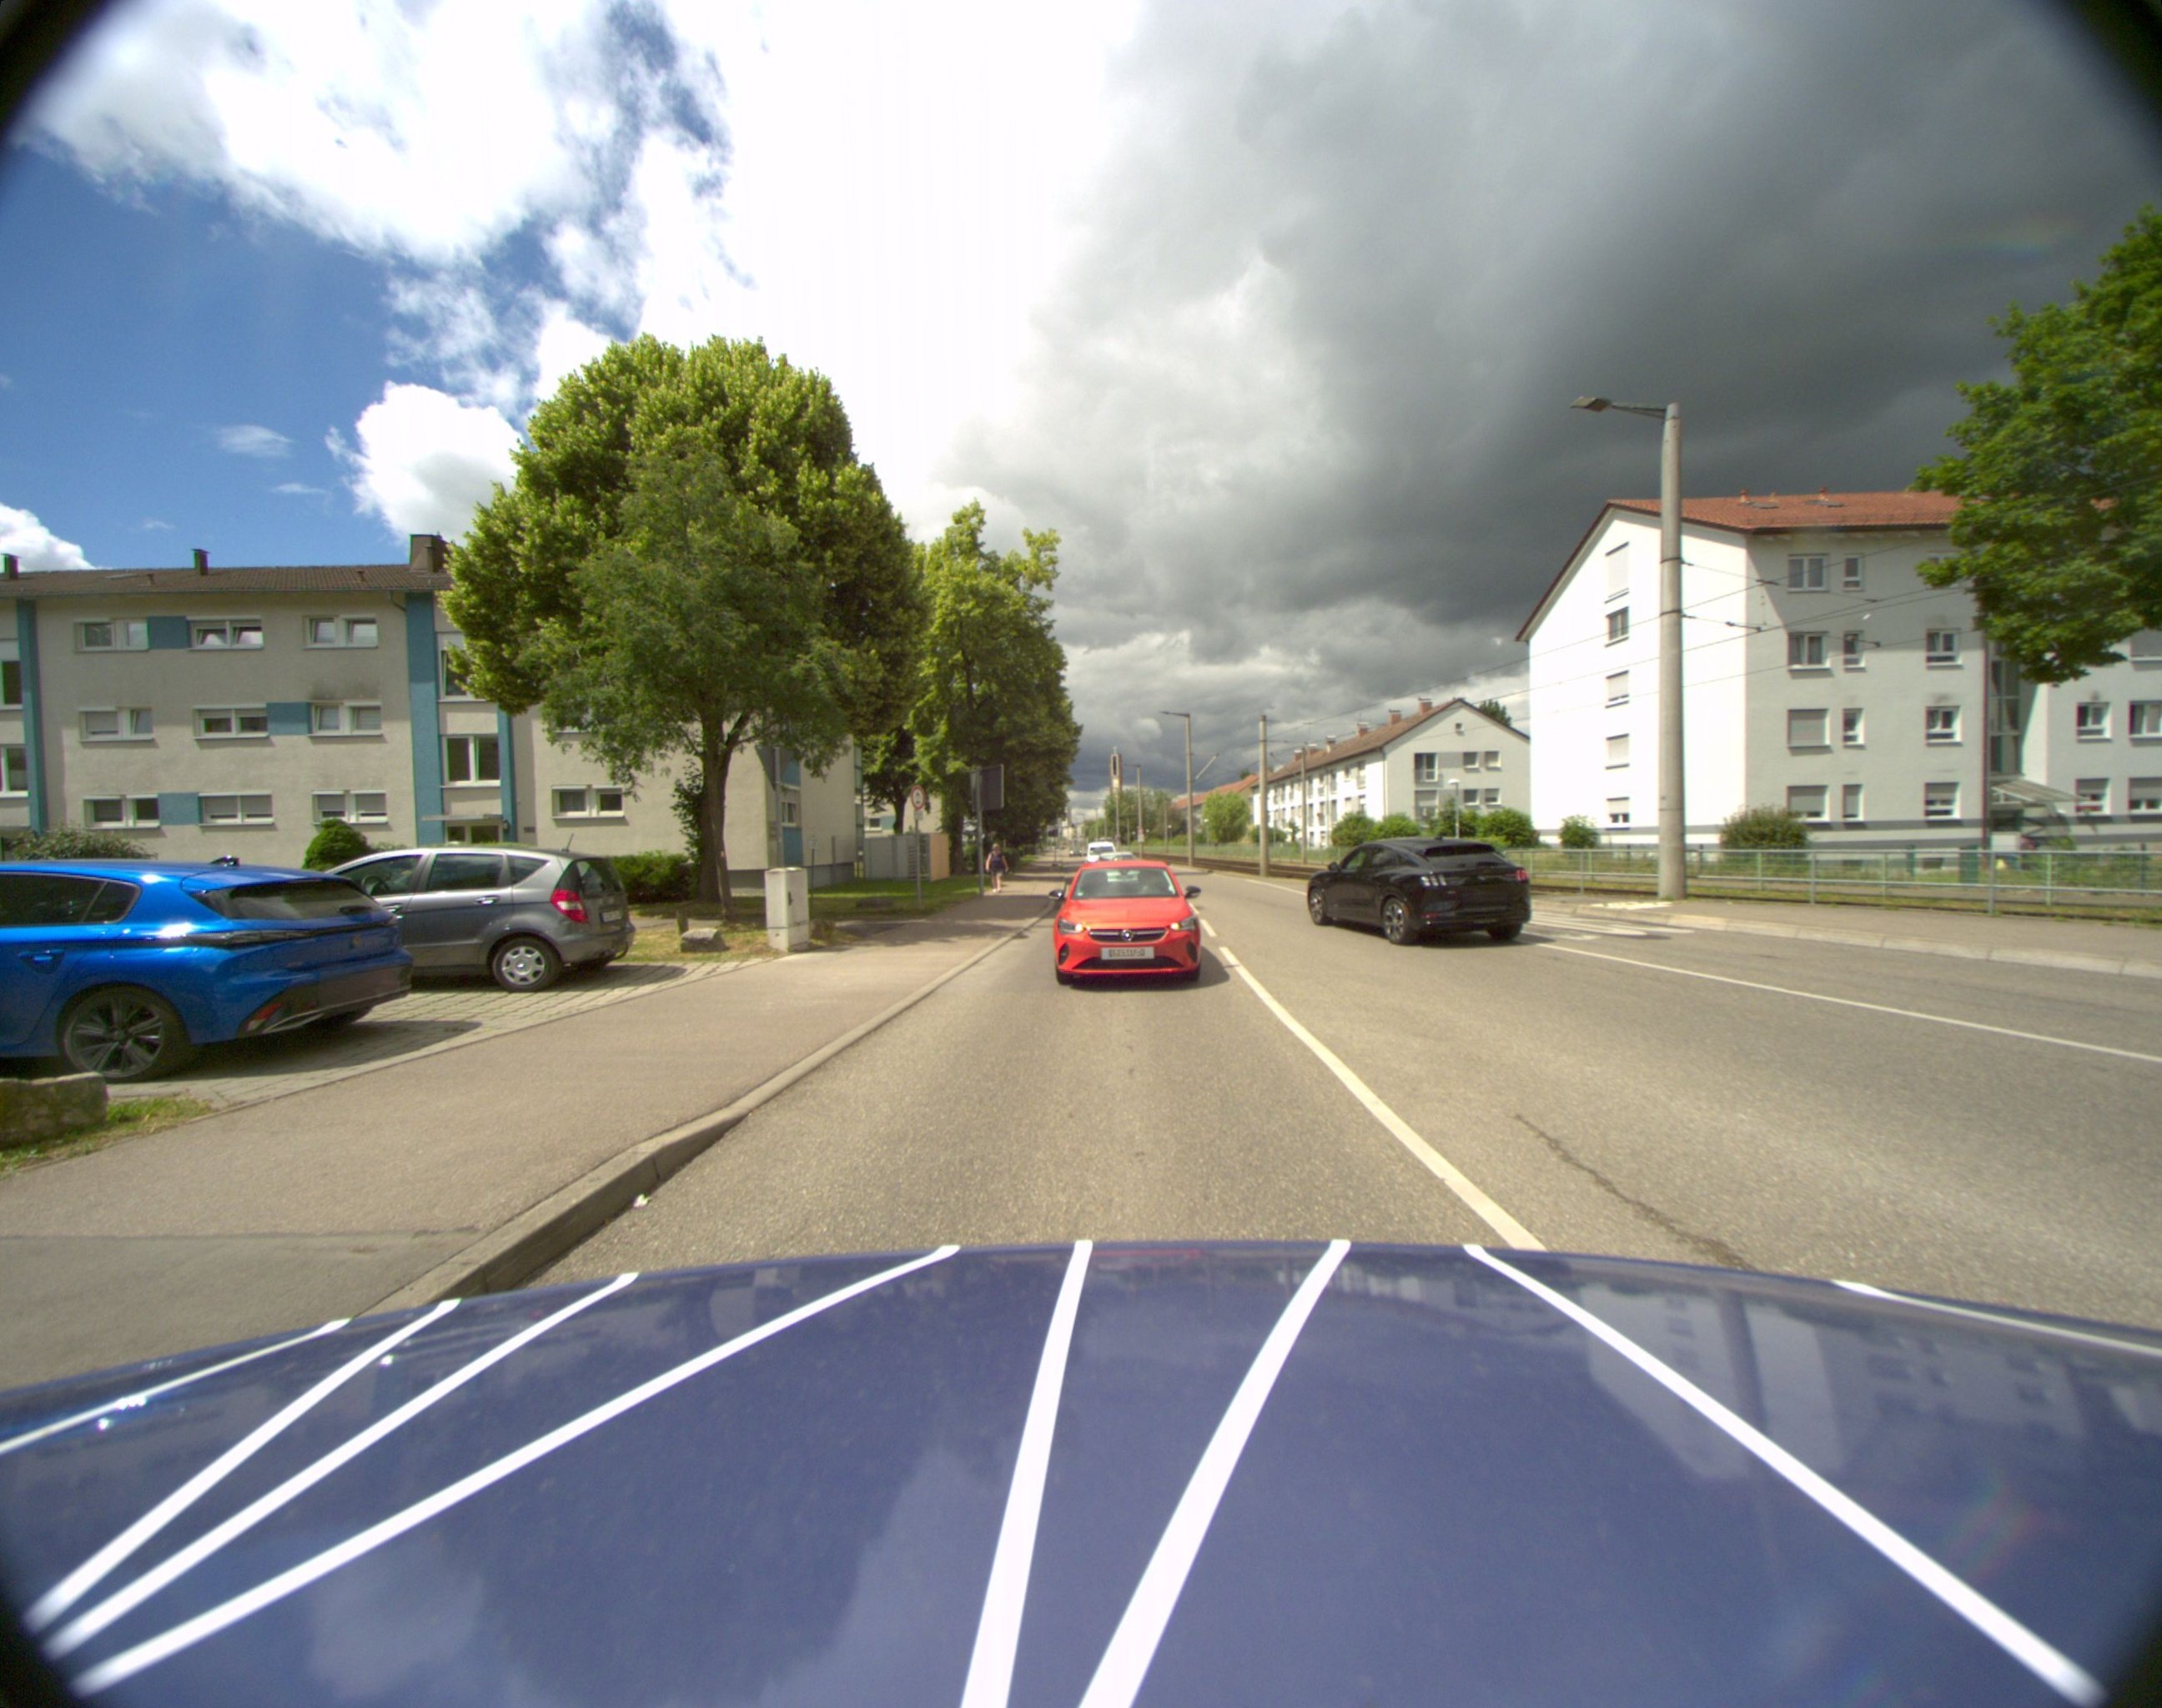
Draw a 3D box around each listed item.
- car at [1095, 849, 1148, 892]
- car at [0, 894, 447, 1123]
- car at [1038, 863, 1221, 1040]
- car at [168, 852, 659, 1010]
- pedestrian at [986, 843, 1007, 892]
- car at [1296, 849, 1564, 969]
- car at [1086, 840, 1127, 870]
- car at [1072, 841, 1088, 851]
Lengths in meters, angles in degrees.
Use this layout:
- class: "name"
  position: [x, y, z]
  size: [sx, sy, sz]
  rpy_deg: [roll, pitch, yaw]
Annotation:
- class: "car"
  position: [1.421, 0.559, 27.728]
  size: [1.763, 1.390, 3.999]
  rpy_deg: [0, 1, 1]
- class: "car"
  position: [-7.735, 0.985, 5.428]
  size: [4.498, 1.236, 1.998]
  rpy_deg: [1, 1, -10]
- class: "car"
  position: [0.541, 1.030, 9.811]
  size: [1.766, 1.549, 3.999]
  rpy_deg: [-5, 1, 1]
- class: "car"
  position: [-7.303, 0.797, 8.780]
  size: [3.741, 1.548, 2.030]
  rpy_deg: [1, 1, -9]
- class: "pedestrian"
  position: [-2.875, 0.441, 25.858]
  size: [0.684, 1.651, 0.831]
  rpy_deg: [-1, 2, -7]
- class: "car"
  position: [5.446, 0.733, 12.662]
  size: [2.000, 1.517, 4.520]
  rpy_deg: [-2, 1, -7]
- class: "car"
  position: [1.391, 0.006, 43.140]
  size: [1.999, 1.598, 3.998]
  rpy_deg: [-1, 1, -3]
- class: "car"
  position: [-0.097, -1.163, 110.292]
  size: [1.917, 1.309, 4.001]
  rpy_deg: [0, 1, 7]
